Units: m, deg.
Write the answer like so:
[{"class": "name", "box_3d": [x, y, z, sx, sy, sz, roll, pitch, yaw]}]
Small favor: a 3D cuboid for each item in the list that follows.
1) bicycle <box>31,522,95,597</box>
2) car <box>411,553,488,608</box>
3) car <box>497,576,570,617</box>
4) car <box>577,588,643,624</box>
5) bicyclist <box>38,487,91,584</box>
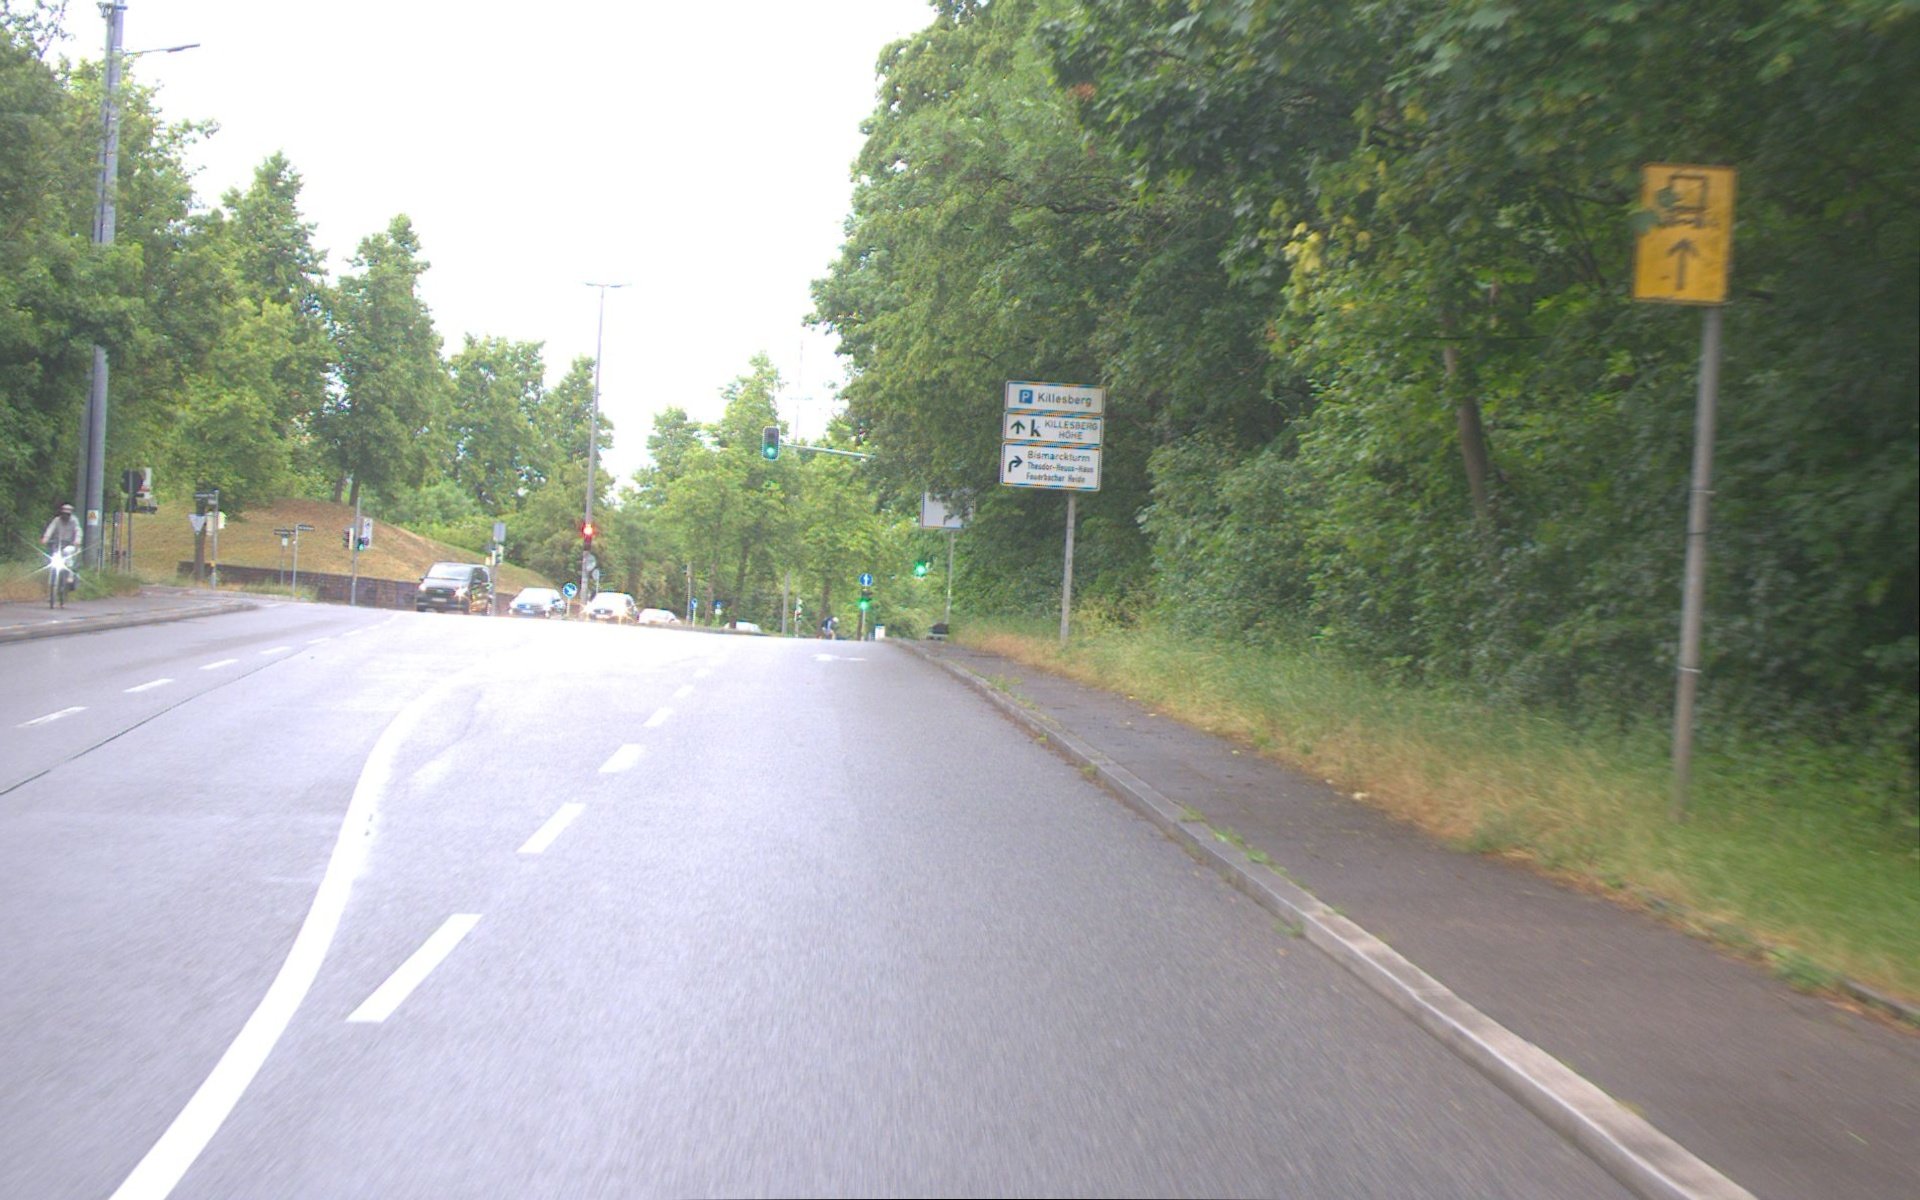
[{"class": "bicycle", "box_3d": [-15.311, -0.691, 58.693, 0.704, 1.238, 2.165, 2, 1, -6]}, {"class": "car", "box_3d": [-18.214, -0.675, 122.881, 1.994, 1.842, 3.999, 1, -1, 2]}, {"class": "car", "box_3d": [-17.159, -0.126, 138.468, 1.898, 1.546, 3.998, 1, -1, 8]}, {"class": "car", "box_3d": [-13.874, 0.264, 136.508, 1.898, 1.349, 3.999, 1, -1, 5]}, {"class": "bicyclist", "box_3d": [-15.293, -1.101, 58.707, 0.704, 1.639, 0.951, 2, 1, -6]}]
